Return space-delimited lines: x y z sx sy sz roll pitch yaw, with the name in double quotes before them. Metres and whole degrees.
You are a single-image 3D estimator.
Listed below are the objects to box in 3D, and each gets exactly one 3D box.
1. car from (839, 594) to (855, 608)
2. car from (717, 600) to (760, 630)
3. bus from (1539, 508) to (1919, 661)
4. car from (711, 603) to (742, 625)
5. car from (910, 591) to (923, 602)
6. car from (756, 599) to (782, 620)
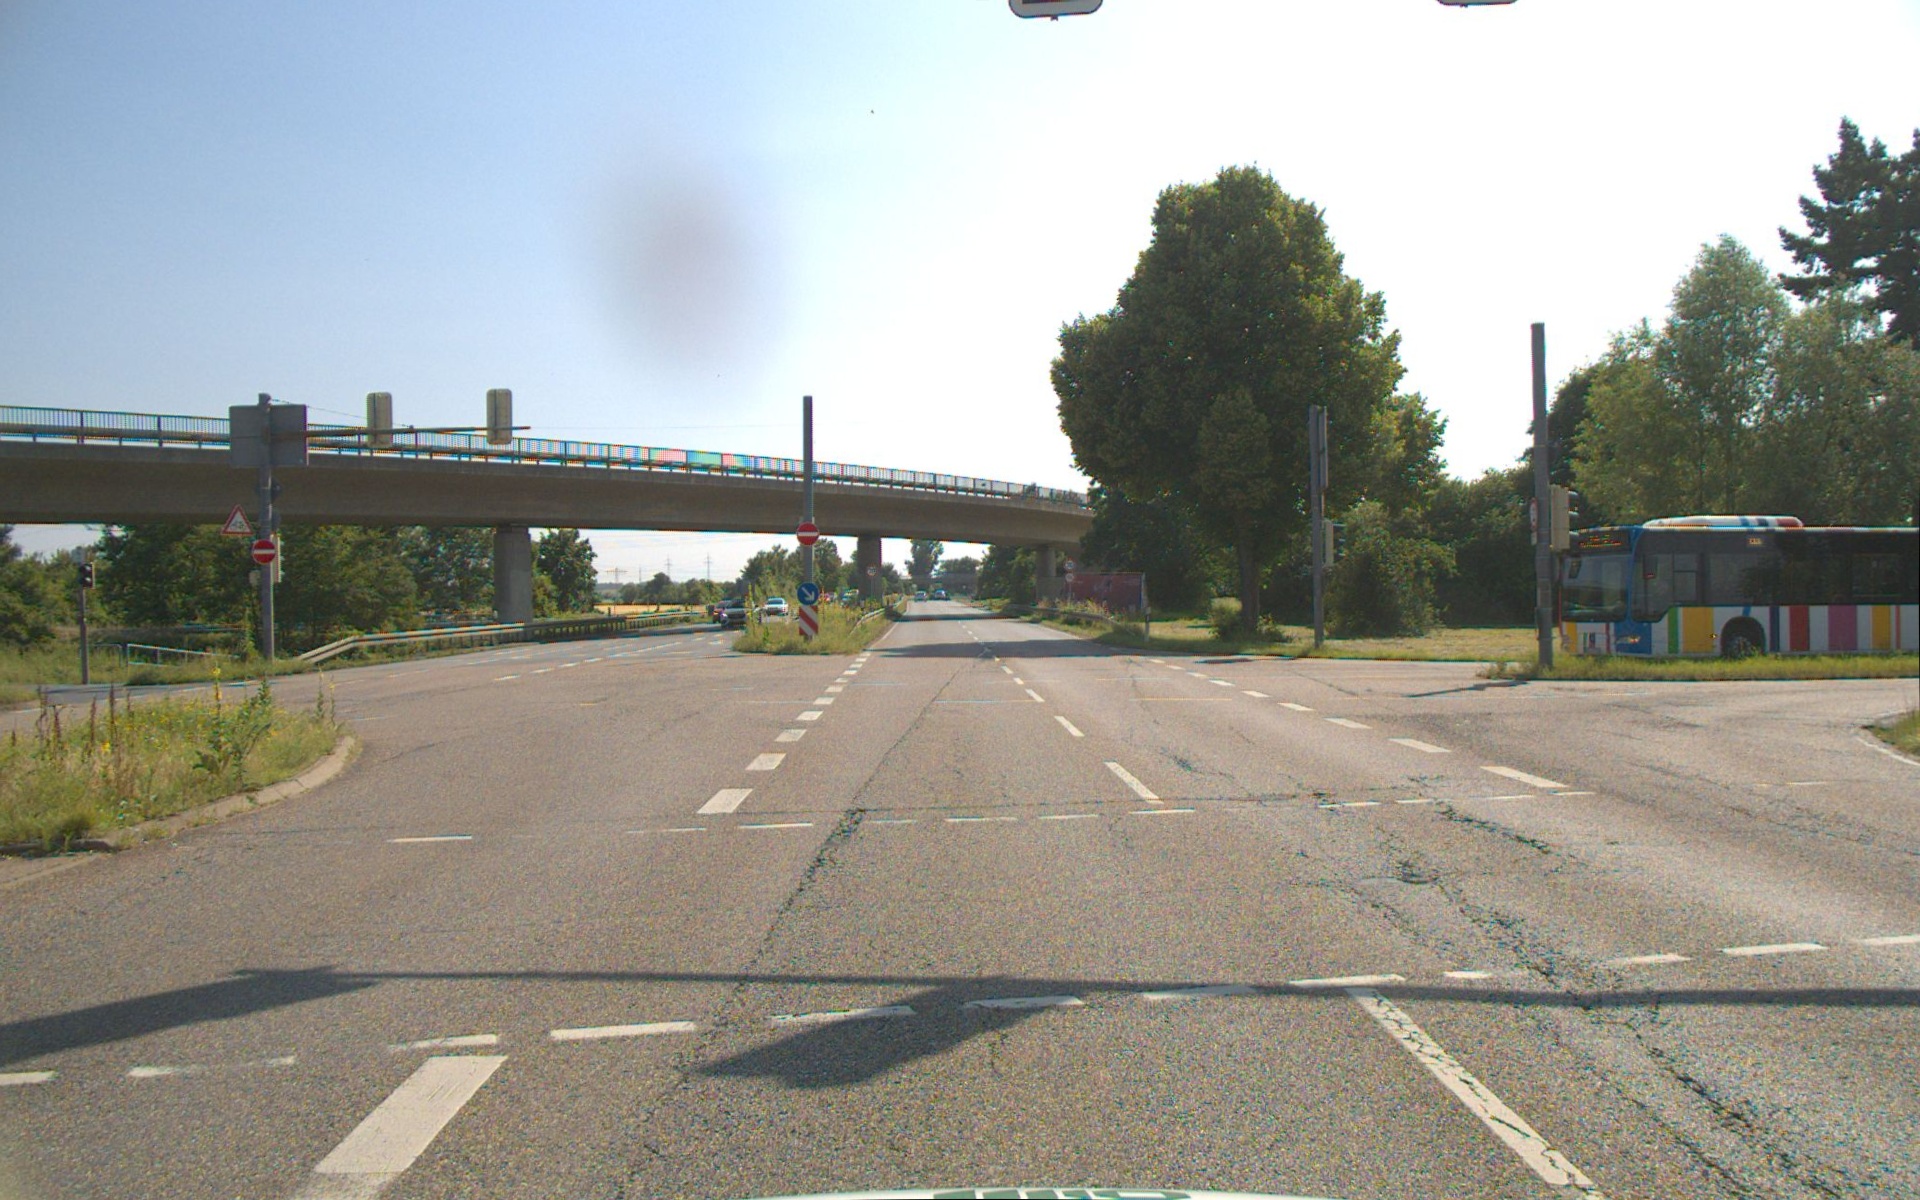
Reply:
"car" -13.195 0.156 193.222 1.525 1.567 3.999 -2 0 -1
"car" -12.060 0.794 90.288 1.819 1.473 4.239 -3 0 -2
"bus" 18.454 -0.420 35.625 11.745 2.927 2.929 -2 0 -16
"car" -15.858 0.917 112.475 1.607 1.409 4.239 -2 0 -2
"car" -6.588 -0.530 250.668 1.813 1.486 4.000 -3 0 0
"car" -15.690 0.750 135.718 1.754 1.656 3.998 -2 0 -2
